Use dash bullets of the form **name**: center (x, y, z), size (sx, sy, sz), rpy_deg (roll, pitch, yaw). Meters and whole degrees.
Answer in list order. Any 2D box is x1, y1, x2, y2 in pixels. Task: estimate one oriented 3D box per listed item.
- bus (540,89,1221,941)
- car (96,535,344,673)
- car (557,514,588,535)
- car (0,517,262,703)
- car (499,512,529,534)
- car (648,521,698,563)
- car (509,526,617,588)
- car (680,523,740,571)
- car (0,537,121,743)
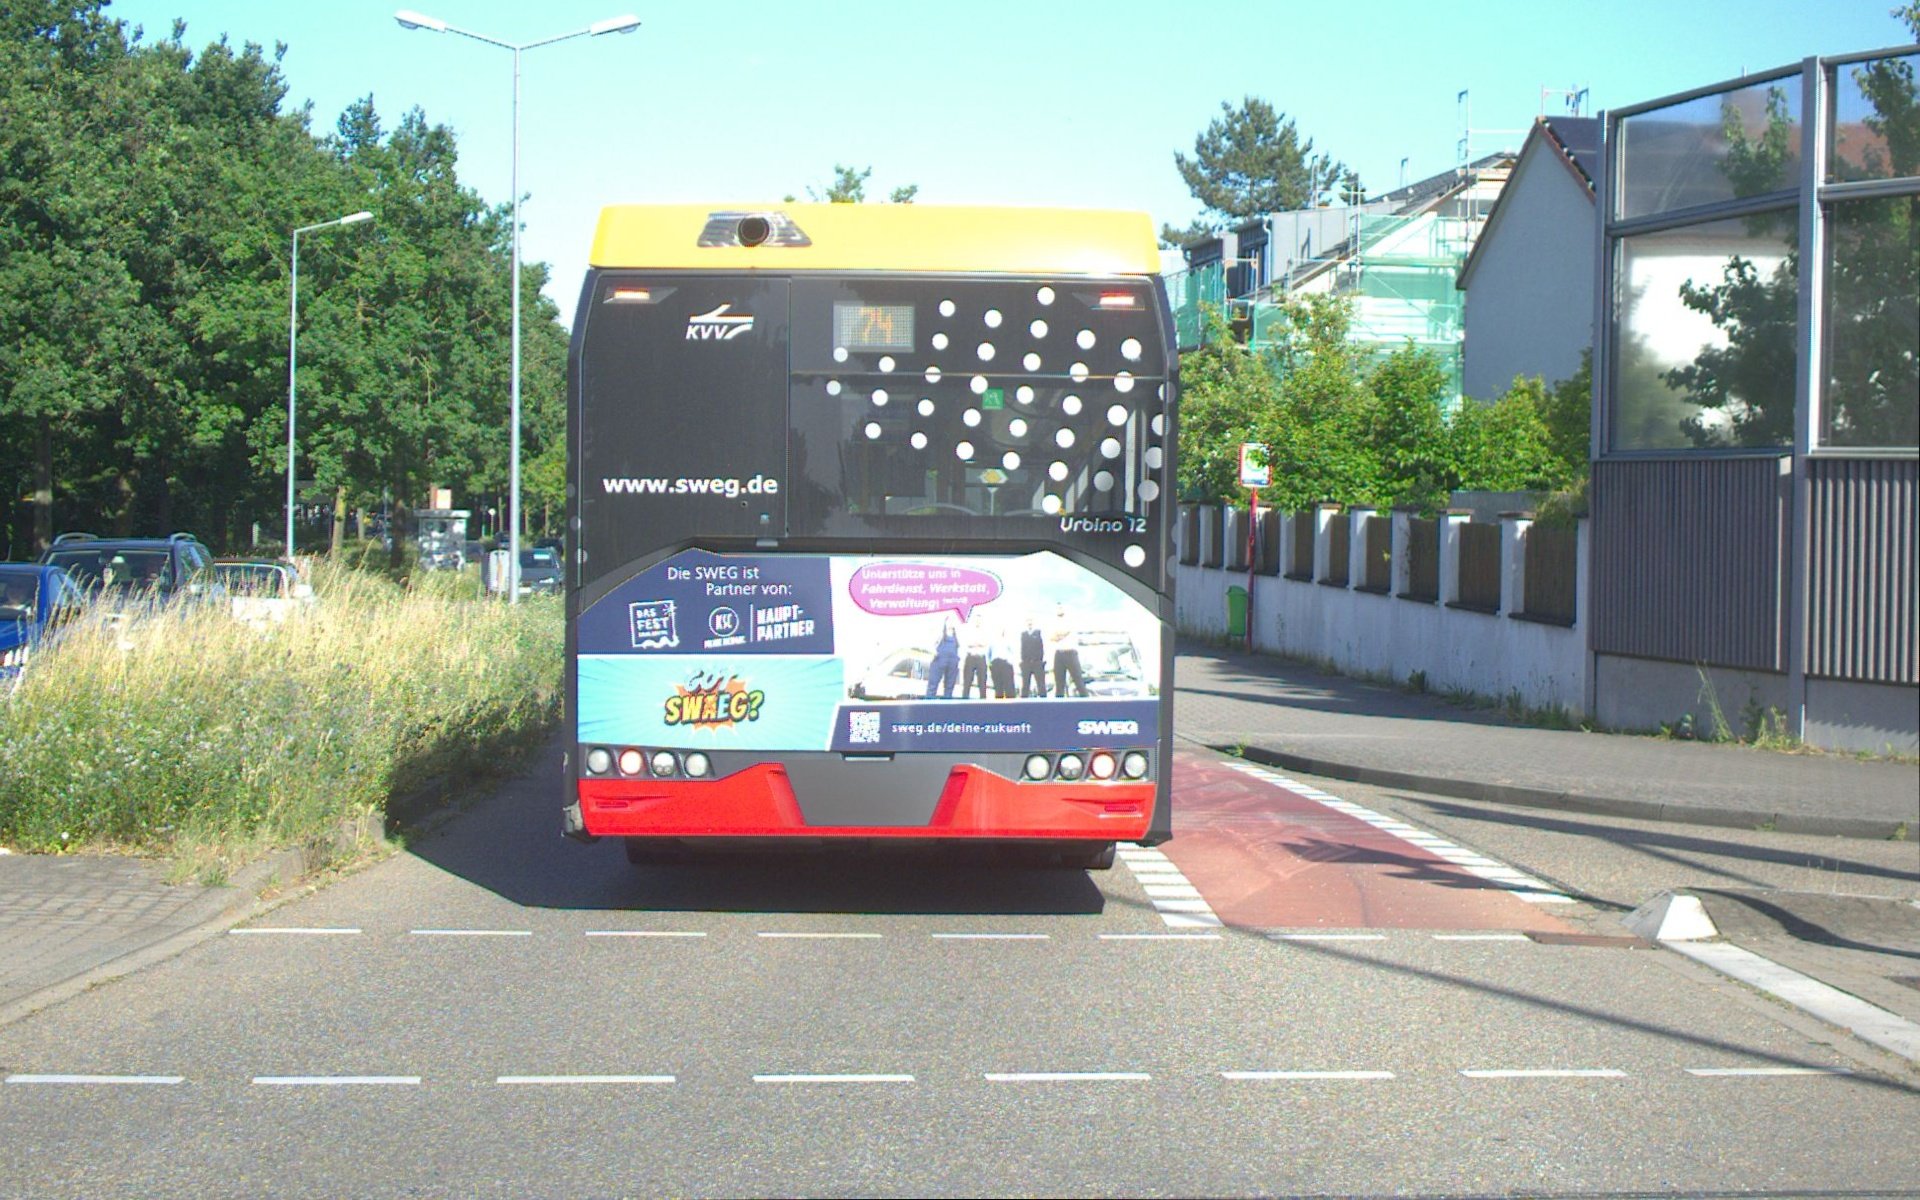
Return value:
- **bus**: center (-0.466, -0.432, 20.135), size (2.757, 3.446, 12.399), rpy_deg (0, 1, -1)
- **car**: center (-8.175, 0.015, 38.357), size (1.993, 1.445, 4.400), rpy_deg (0, 1, -3)
- **car**: center (-27.609, -5.385, 244.738), size (1.933, 1.449, 4.001), rpy_deg (1, 1, -10)
- **car**: center (-8.055, 0.037, 32.952), size (1.993, 1.610, 4.531), rpy_deg (0, 2, -3)
- **car**: center (-31.673, -5.472, 244.212), size (1.933, 1.449, 4.001), rpy_deg (1, 1, -10)
- **car**: center (-12.589, -2.551, 150.559), size (1.933, 1.736, 4.001), rpy_deg (1, 1, -8)
- **car**: center (-9.499, -1.050, 82.550), size (1.710, 1.426, 3.999), rpy_deg (0, 1, 6)
- **car**: center (-9.356, -1.992, 128.486), size (1.935, 1.698, 4.001), rpy_deg (1, 1, -8)
- **car**: center (-8.006, 0.260, 27.520), size (1.746, 1.478, 3.888), rpy_deg (0, 2, -2)
